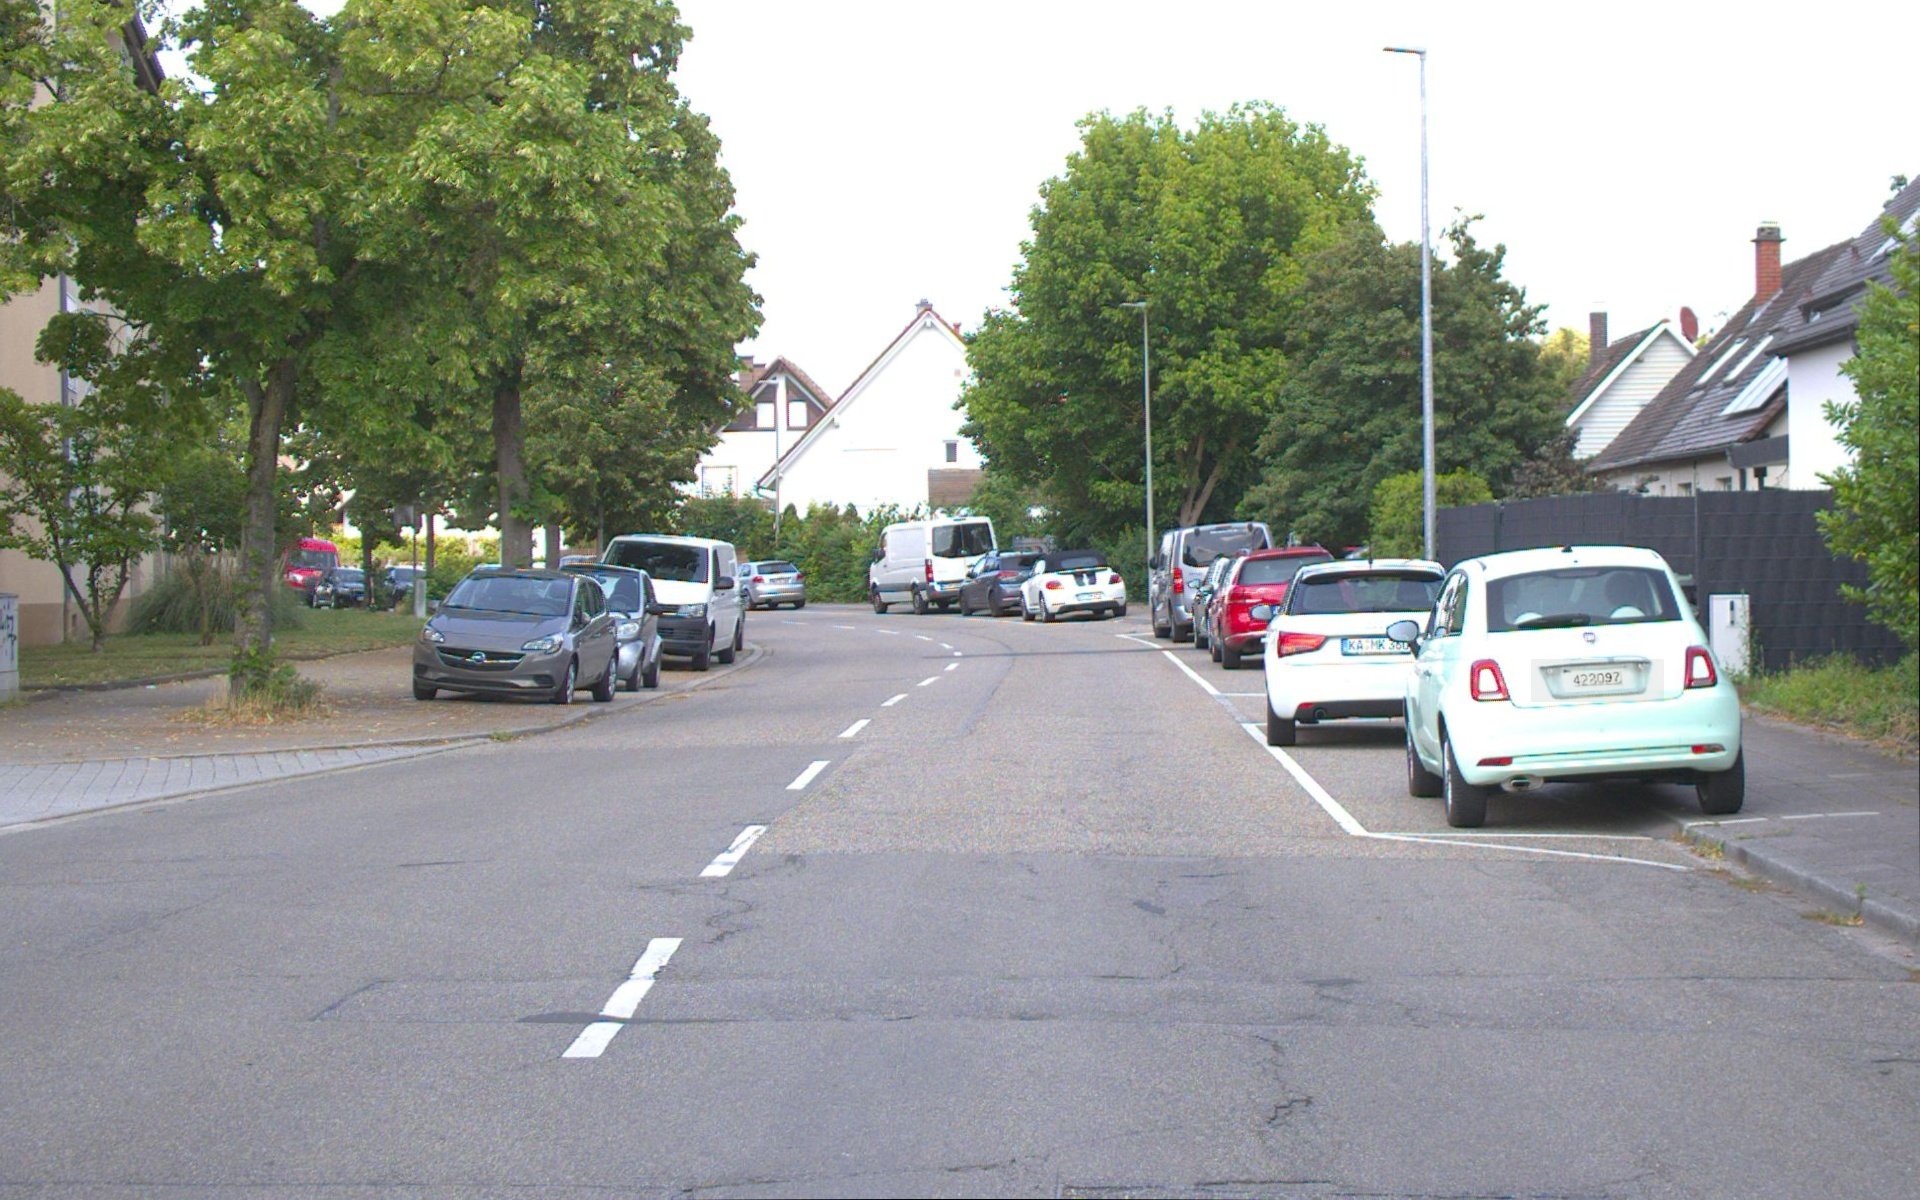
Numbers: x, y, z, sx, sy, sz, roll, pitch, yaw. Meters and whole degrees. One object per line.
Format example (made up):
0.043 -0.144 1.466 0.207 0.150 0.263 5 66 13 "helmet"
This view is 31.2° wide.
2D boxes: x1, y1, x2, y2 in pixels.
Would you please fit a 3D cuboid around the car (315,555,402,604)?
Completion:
-19.296 -0.648 110.224 1.786 1.452 4.436 2 -1 -22 "car"

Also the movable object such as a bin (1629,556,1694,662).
7.012 0.085 34.379 0.516 1.035 0.630 -1 1 2 "movable object such as a bin"

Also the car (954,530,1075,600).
1.261 -0.829 81.304 1.717 1.580 4.125 -2 1 -15 "car"

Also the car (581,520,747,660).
-4.445 -0.205 52.357 1.879 2.002 5.322 1 1 2 "car"

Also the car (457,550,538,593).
-17.209 -1.069 127.716 1.794 1.518 3.974 -2 1 -26 "car"

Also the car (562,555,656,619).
-8.128 -0.314 79.362 1.836 1.434 4.092 1 1 -10 "car"

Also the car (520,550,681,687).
-4.573 0.199 44.159 1.517 1.544 3.755 4 2 1 "car"

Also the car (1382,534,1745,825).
3.457 0.390 20.270 1.581 1.515 3.755 -1 1 2 "car"

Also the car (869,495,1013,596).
-0.543 -1.387 87.493 2.117 2.432 5.896 -2 1 -16 "car"

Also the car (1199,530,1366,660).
4.174 -0.113 45.122 1.850 1.574 4.732 -1 1 2 "car"

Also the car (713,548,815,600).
-5.825 -0.772 101.803 1.737 1.452 4.366 -2 1 -21 "car"

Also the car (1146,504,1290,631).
4.320 -0.569 58.176 1.842 1.938 4.876 -4 1 -1 "car"

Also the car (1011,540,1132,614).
2.378 -0.523 74.447 1.739 1.507 4.460 -2 1 -9 "car"

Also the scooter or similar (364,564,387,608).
-15.512 -0.375 91.207 0.419 1.161 1.141 -1 1 -20 "scooter or similar"

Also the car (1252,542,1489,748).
3.231 0.306 27.524 1.721 1.481 3.748 -1 1 5 "car"

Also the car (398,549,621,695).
-4.904 0.234 37.869 1.684 1.481 3.983 1 0 3 "car"

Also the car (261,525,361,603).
-21.985 -1.234 116.309 2.063 2.492 5.842 2 0 -22 "car"
